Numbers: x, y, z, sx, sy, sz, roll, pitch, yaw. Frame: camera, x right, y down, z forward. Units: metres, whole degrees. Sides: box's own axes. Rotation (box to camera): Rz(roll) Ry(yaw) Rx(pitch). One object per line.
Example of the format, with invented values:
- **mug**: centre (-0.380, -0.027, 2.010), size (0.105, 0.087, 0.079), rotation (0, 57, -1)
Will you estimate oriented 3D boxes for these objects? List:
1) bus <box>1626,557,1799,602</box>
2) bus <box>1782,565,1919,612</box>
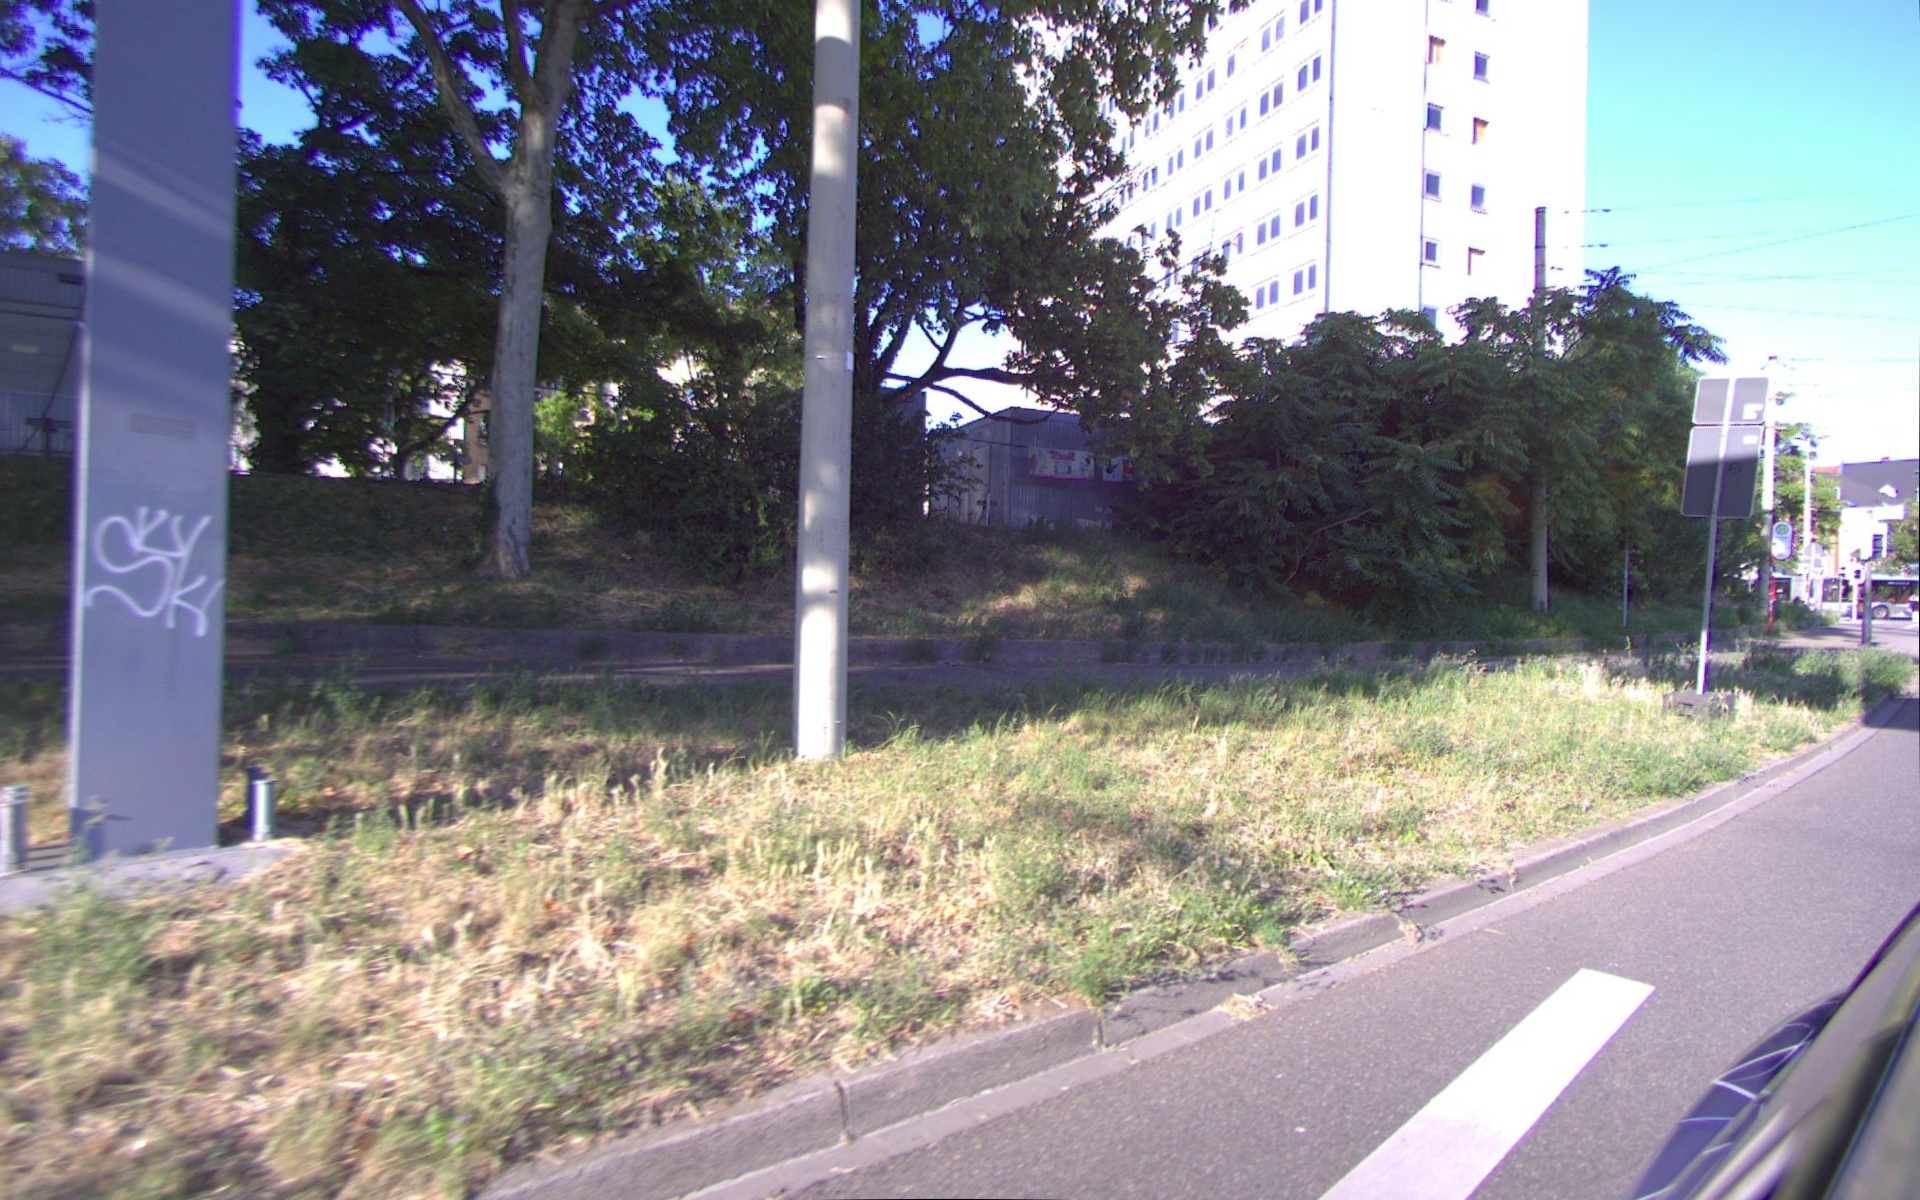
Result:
- **bus**: centre (53.357, -1.478, 72.078), size (9.457, 3.063, 2.597), rotation (1, 1, 20)
- **bus**: centre (61.943, -0.770, 68.979), size (8.747, 3.063, 2.597), rotation (1, 1, 20)
